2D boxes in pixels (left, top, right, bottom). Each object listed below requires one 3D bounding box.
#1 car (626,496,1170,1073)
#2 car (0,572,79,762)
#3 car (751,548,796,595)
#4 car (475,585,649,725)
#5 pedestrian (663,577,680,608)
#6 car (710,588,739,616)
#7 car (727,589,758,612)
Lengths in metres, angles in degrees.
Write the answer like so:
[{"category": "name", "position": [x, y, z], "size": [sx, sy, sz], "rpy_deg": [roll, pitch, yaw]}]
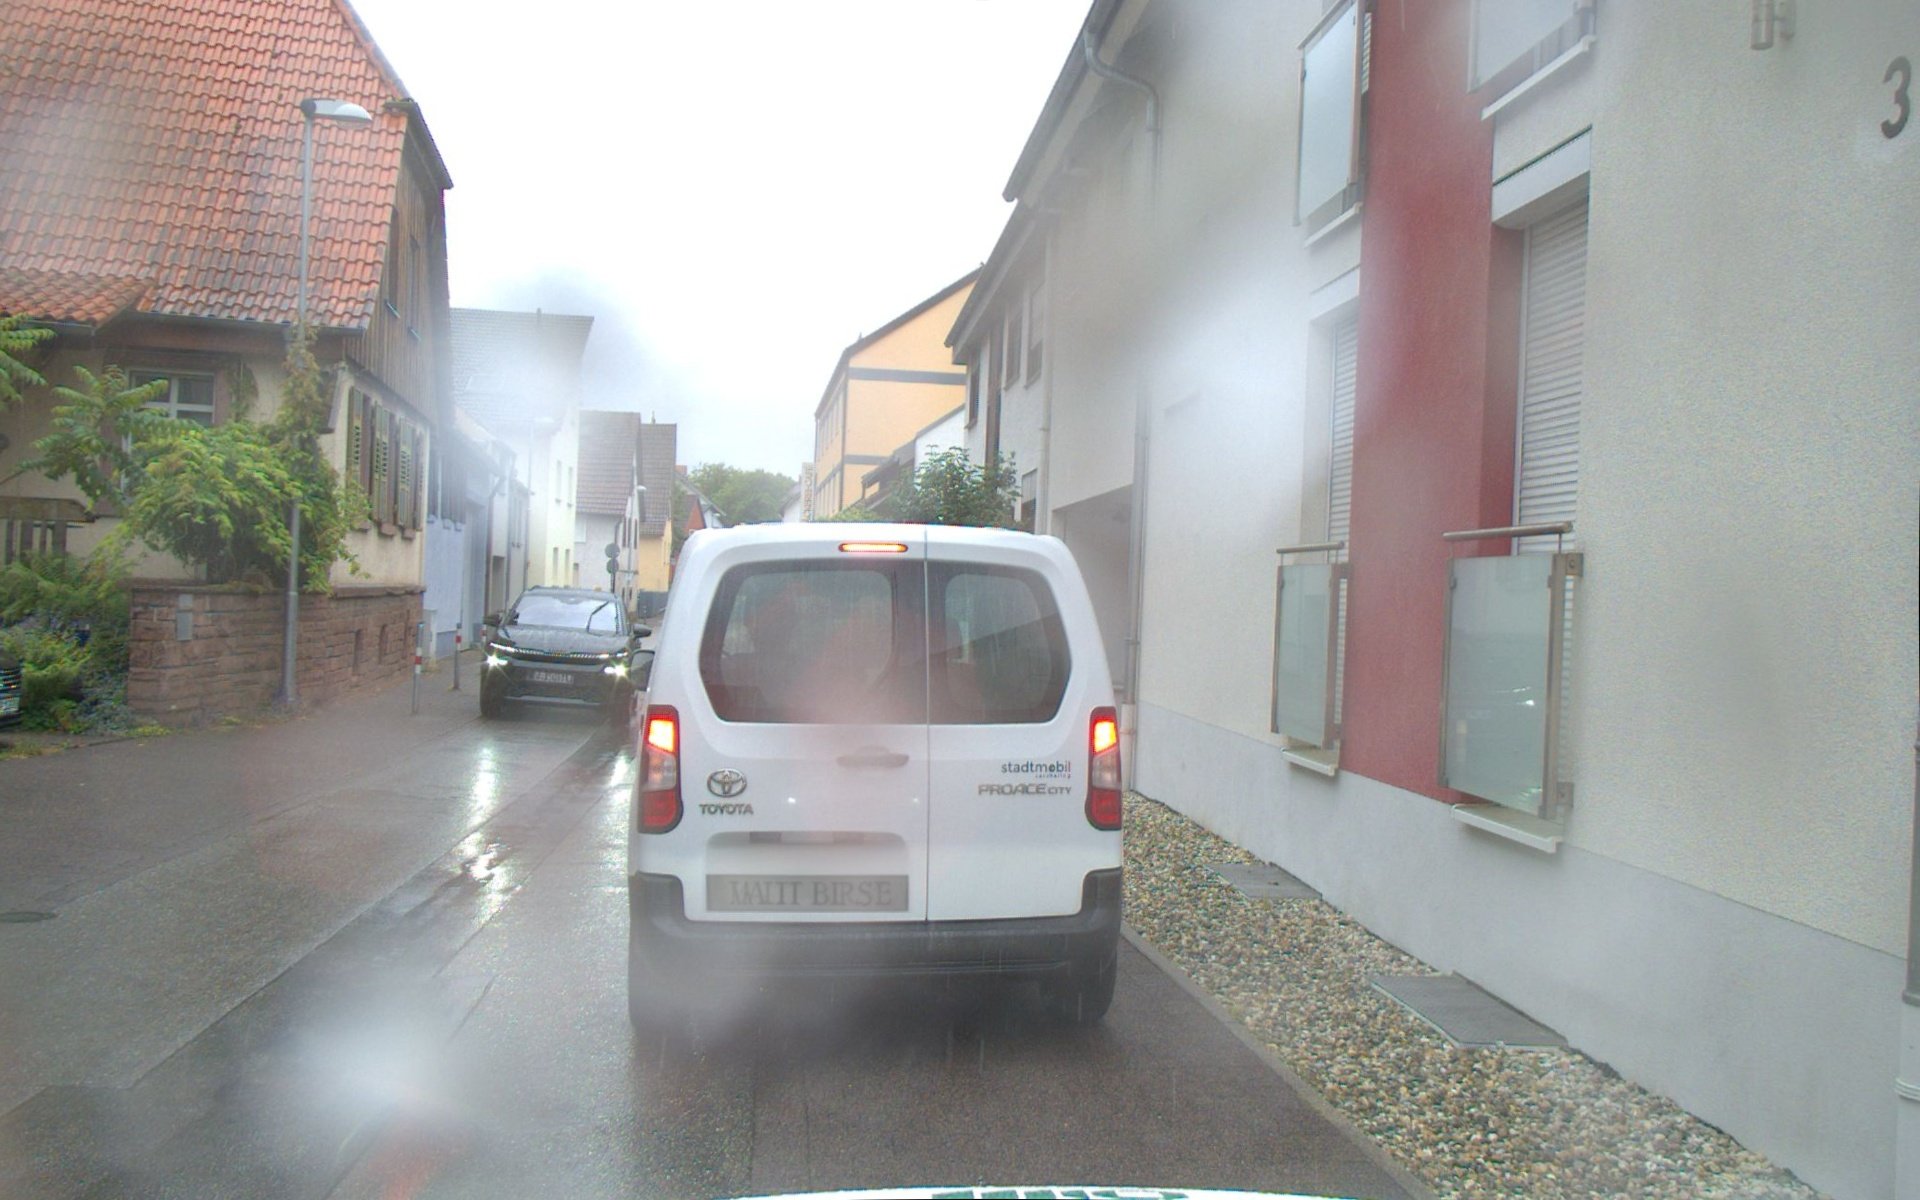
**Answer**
[{"category": "car", "position": [-0.485, 0.596, 7.313], "size": [1.742, 1.811, 3.991], "rpy_deg": [1, 0, -9]}, {"category": "car", "position": [-9.392, 0.316, 12.942], "size": [3.908, 1.450, 1.735], "rpy_deg": [7, -1, -1]}, {"category": "car", "position": [-8.567, -1.304, 76.132], "size": [1.955, 2.049, 3.995], "rpy_deg": [1, 0, -6]}, {"category": "car", "position": [-5.066, 0.648, 21.534], "size": [1.799, 1.583, 4.230], "rpy_deg": [2, 0, -9]}, {"category": "pedestrian", "position": [-17.932, -0.457, 102.765], "size": [1.031, 1.926, 0.875], "rpy_deg": [1, -1, -9]}, {"category": "car", "position": [-13.422, 0.110, 94.150], "size": [1.532, 1.503, 3.990], "rpy_deg": [1, 0, -10]}, {"category": "car", "position": [-13.796, 0.046, 104.864], "size": [1.747, 1.419, 3.990], "rpy_deg": [1, 0, -10]}]
